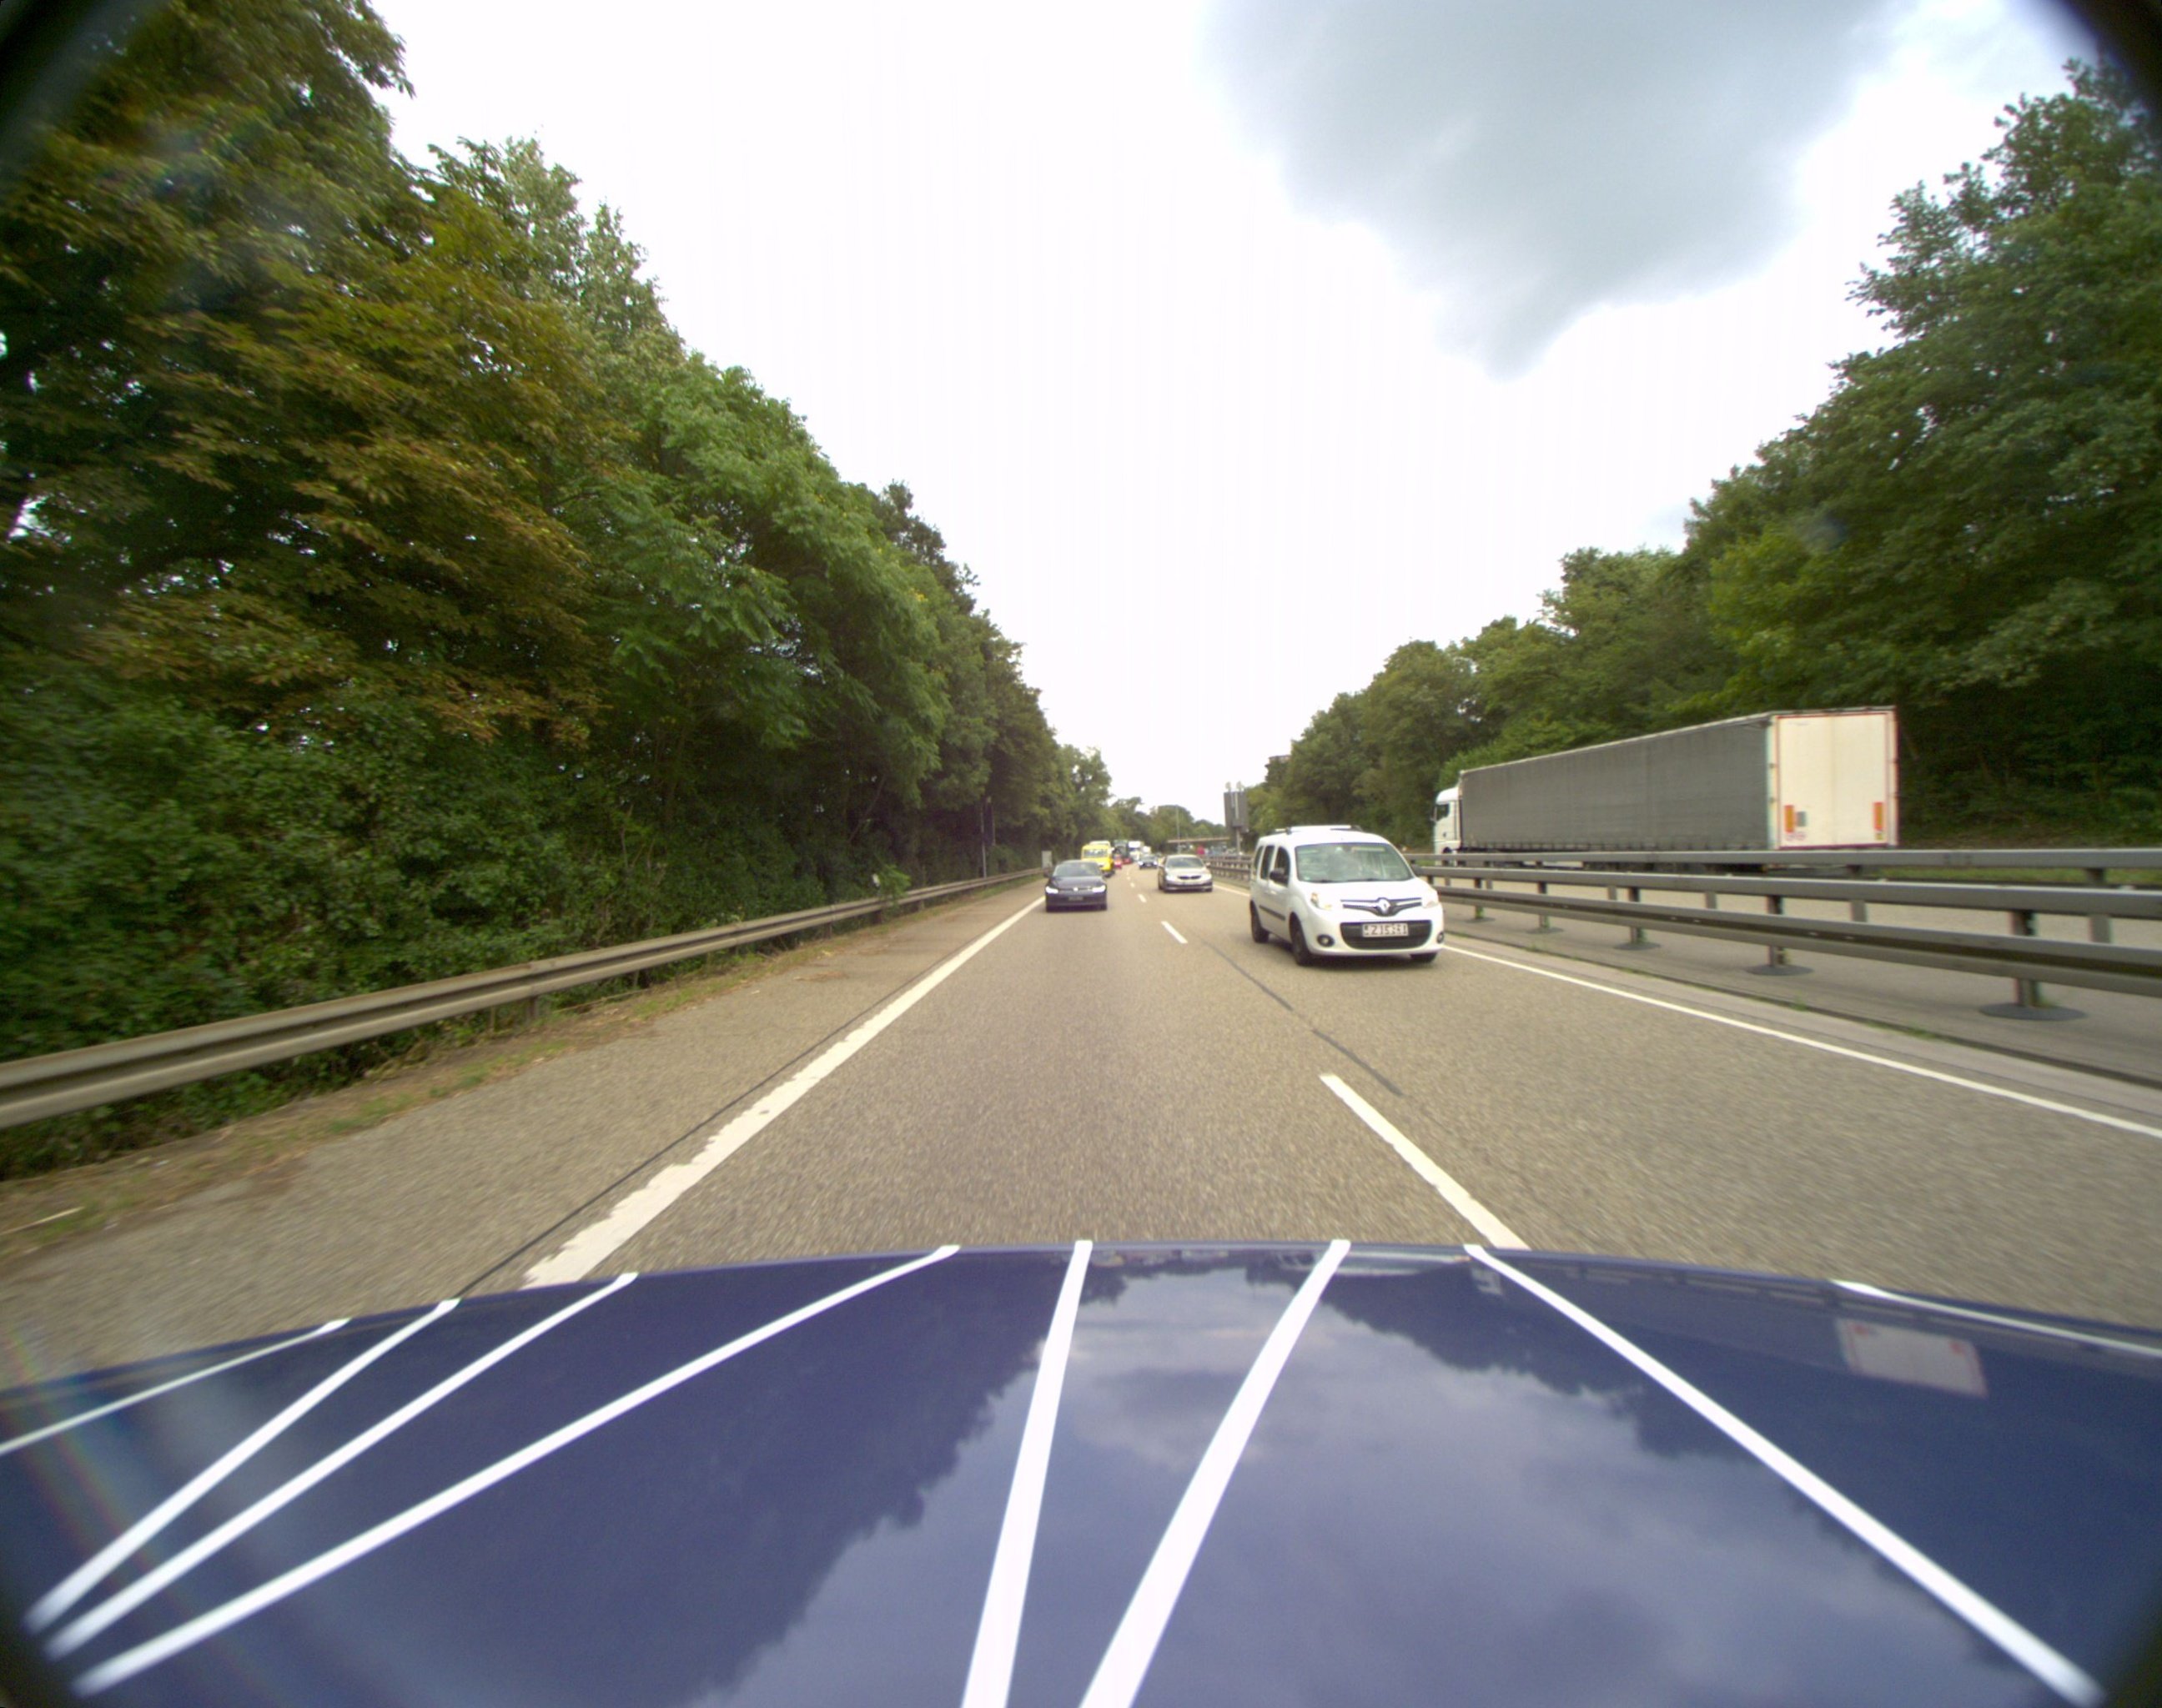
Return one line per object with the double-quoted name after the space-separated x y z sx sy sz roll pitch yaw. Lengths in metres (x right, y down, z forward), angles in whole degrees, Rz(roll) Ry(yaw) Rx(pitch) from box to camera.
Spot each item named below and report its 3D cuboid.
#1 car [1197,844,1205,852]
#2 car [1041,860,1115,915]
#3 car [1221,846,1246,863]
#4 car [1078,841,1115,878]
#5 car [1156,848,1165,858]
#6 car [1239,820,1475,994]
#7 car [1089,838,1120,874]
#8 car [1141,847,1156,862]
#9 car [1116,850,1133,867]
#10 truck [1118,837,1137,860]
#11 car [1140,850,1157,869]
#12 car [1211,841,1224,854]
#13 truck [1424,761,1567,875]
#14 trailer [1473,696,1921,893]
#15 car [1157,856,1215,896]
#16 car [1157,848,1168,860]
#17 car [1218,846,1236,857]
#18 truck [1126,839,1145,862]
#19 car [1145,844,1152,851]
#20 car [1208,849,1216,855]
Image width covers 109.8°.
34.495 -1.673 218.345 2.070 2.243 5.378 -1 0 10 "car"
0.024 0.923 22.923 1.800 1.398 4.641 -1 0 5 "car"
13.989 0.044 69.870 1.713 1.438 3.776 -1 0 2 "car"
1.122 0.347 52.181 2.247 2.334 5.225 -1 0 4 "car"
16.508 -0.224 158.240 1.815 1.840 4.002 -1 0 7 "car"
3.688 0.607 11.088 1.821 1.993 4.423 -1 0 0 "car"
2.002 0.135 62.107 2.207 2.732 6.169 -1 0 4 "car"
8.232 0.078 92.572 1.677 1.763 3.938 -1 0 4 "car"
4.723 0.455 82.199 1.677 1.763 3.938 -1 0 4 "car"
7.354 -0.845 119.504 2.547 3.564 6.460 -1 0 7 "truck"
6.870 0.536 77.518 1.677 1.763 3.938 -1 0 4 "car"
25.064 -1.109 139.558 1.939 2.308 5.307 -1 0 6 "car"
16.155 -1.304 30.053 2.699 4.039 5.322 -1 0 0 "truck"
16.102 -1.260 22.190 2.670 4.022 12.871 -1 0 0 "trailer"
4.135 0.822 30.477 1.772 1.416 4.198 -1 0 1 "car"
13.604 -0.010 127.034 1.815 1.840 4.002 -1 0 7 "car"
21.274 -0.402 110.806 1.998 1.472 4.133 -1 0 5 "car"
11.520 -0.734 158.351 3.098 4.462 12.216 -1 0 8 "truck"
16.784 -1.628 188.278 1.680 1.840 4.002 -1 0 7 "car"
33.343 -0.528 193.621 1.997 1.501 4.507 -1 0 9 "car"
